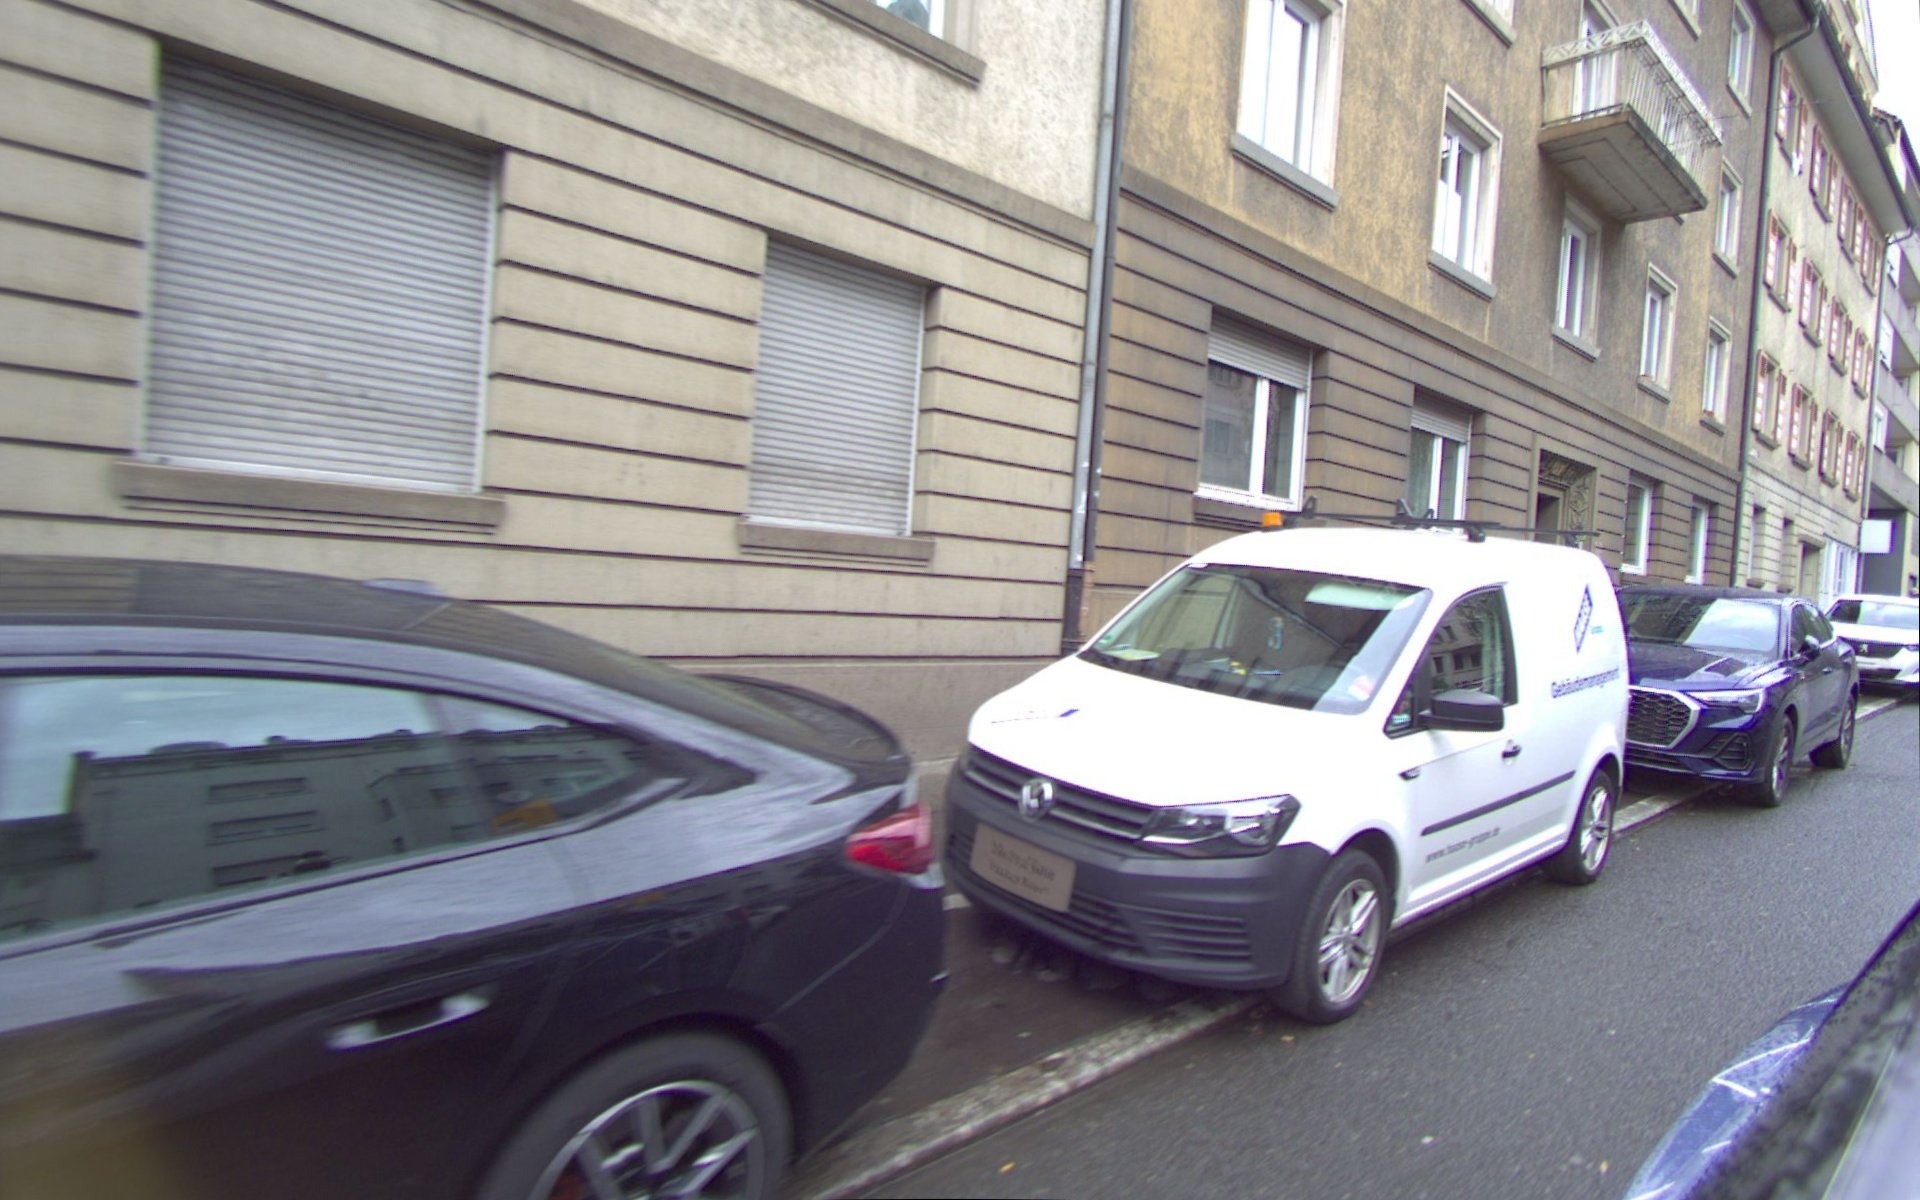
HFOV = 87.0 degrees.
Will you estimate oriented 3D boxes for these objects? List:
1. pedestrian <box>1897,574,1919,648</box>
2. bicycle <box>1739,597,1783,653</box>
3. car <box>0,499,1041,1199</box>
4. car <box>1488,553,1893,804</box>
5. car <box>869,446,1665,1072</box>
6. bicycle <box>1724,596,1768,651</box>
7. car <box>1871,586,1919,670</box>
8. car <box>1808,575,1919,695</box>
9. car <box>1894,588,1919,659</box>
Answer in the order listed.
[{"bbox_3d":[24.274,0.282,25.463,0.679,1.808,0.709,4,4,22],"label":"pedestrian"},{"bbox_3d":[16.954,0.512,21.414,2.069,1.086,0.248,-1,6,-41],"label":"bicycle"},{"bbox_3d":[-2.050,0.547,1.679,4.313,1.425,1.845,0,5,-42],"label":"car"},{"bbox_3d":[6.389,0.497,8.678,4.151,1.566,1.795,0,4,-41],"label":"car"},{"bbox_3d":[1.741,0.406,4.954,4.009,1.839,1.795,0,4,-41],"label":"car"},{"bbox_3d":[16.775,0.489,21.588,2.069,1.086,0.248,-1,6,-41],"label":"bicycle"},{"bbox_3d":[19.500,0.571,20.097,3.672,1.495,1.636,0,7,-43],"label":"car"},{"bbox_3d":[15.418,0.514,16.632,4.124,1.657,1.635,0,6,-43],"label":"car"},{"bbox_3d":[22.876,0.532,23.091,4.508,1.497,1.781,-1,4,-41],"label":"car"}]
